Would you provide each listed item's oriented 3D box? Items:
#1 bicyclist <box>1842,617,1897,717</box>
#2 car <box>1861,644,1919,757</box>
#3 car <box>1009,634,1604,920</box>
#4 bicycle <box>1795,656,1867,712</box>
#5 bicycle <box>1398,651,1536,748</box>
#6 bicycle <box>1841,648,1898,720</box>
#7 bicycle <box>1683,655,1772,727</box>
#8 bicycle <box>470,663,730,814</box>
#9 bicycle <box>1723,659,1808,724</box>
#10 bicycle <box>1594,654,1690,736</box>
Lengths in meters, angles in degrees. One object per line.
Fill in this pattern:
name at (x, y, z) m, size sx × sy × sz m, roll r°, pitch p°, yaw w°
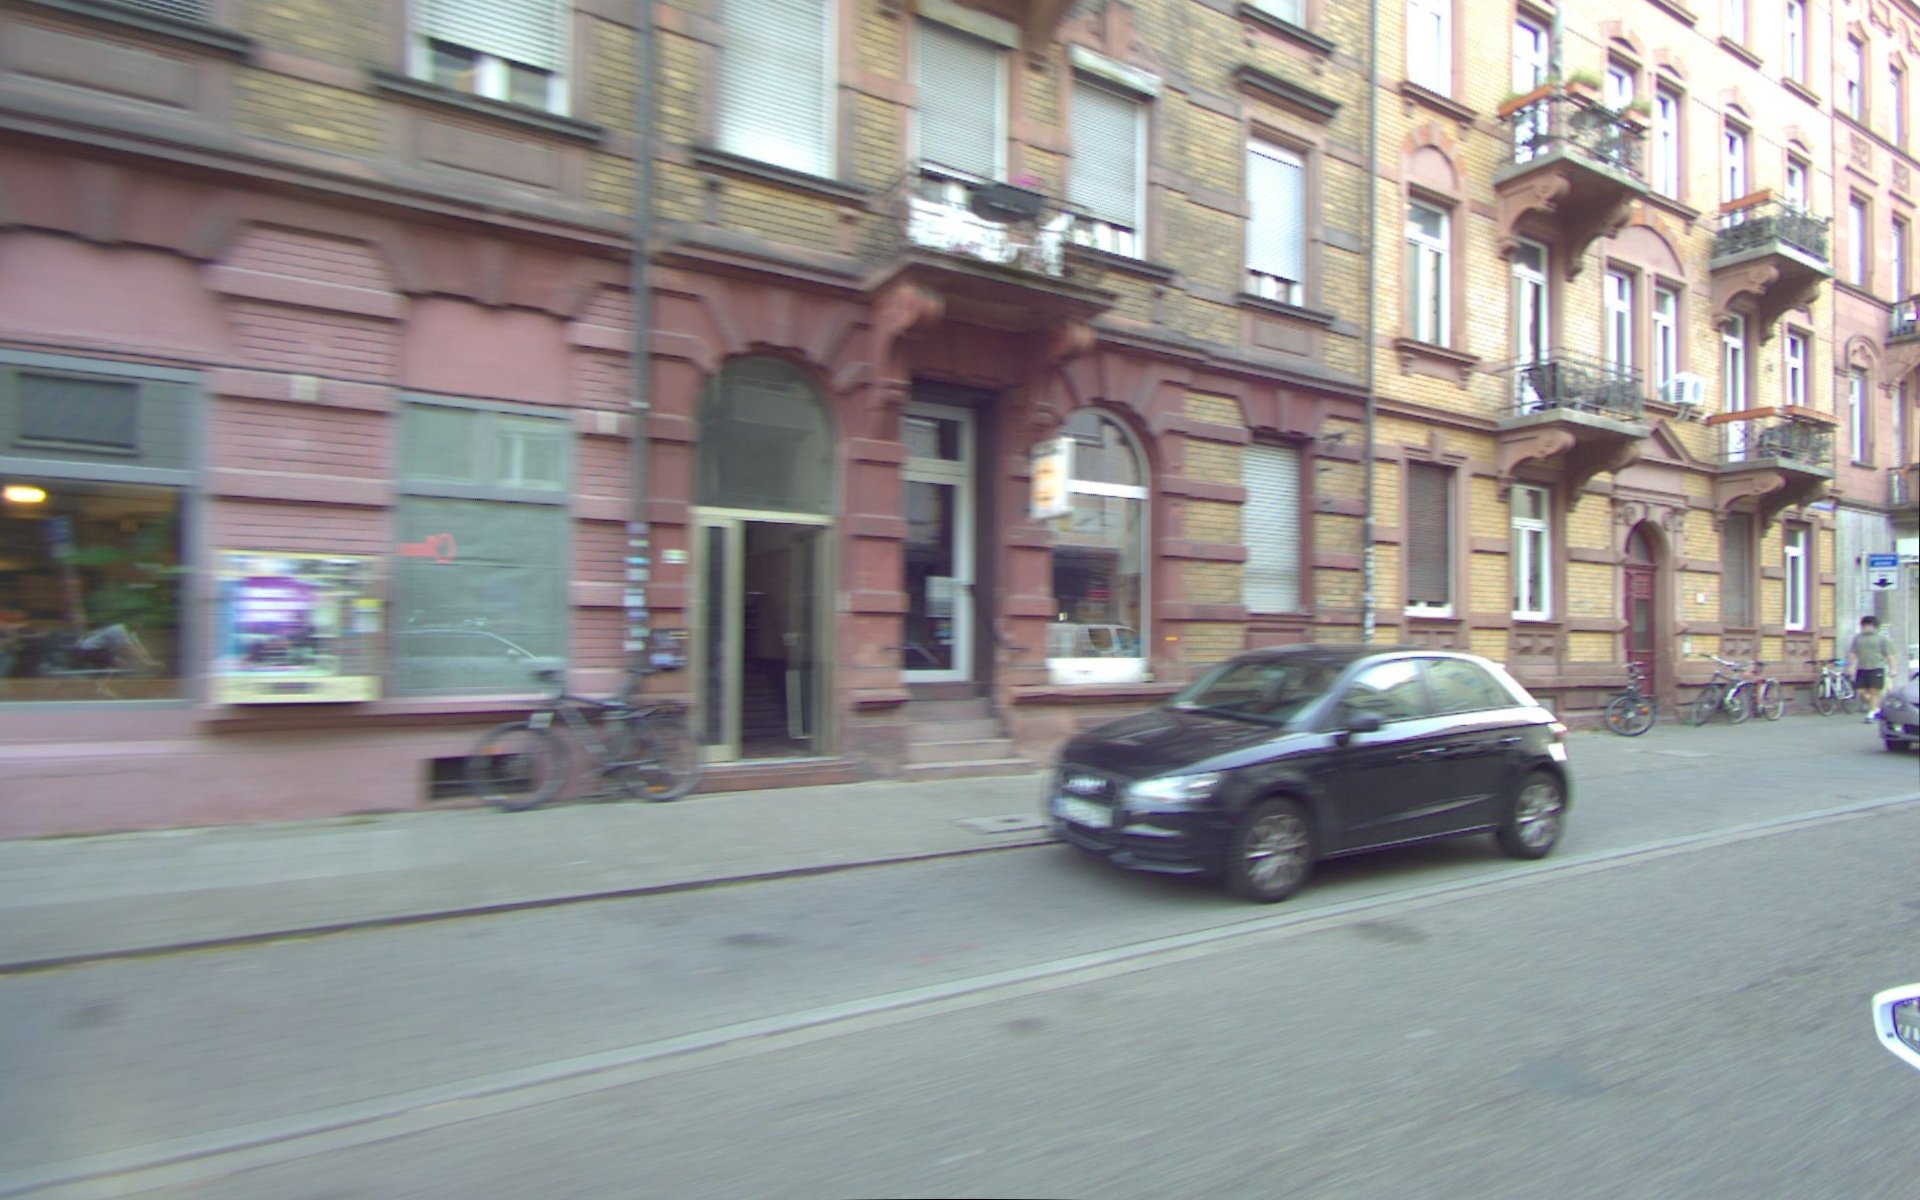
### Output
bicyclist at (16.459, 1.203, 18.195) m, size 0.700 × 1.752 × 0.839 m, roll 0°, pitch -2°, yaw 41°
car at (14.417, 1.369, 13.815) m, size 4.528 × 1.439 × 1.714 m, roll 2°, pitch -1°, yaw -30°
car at (2.395, 0.977, 6.831) m, size 3.805 × 1.439 × 1.687 m, roll 1°, pitch -1°, yaw -27°
bicycle at (17.068, 1.626, 19.667) m, size 1.826 × 1.036 × 0.447 m, roll 2°, pitch 2°, yaw -30°
bicycle at (6.744, 1.292, 13.331) m, size 2.021 × 1.186 × 0.525 m, roll 1°, pitch 0°, yaw -27°
bicycle at (16.428, 1.502, 18.169) m, size 0.699 × 1.212 × 1.734 m, roll 0°, pitch -2°, yaw 40°
bicycle at (13.063, 1.526, 17.089) m, size 1.738 × 1.138 × 0.546 m, roll 1°, pitch 1°, yaw -30°
bicycle at (-2.791, 1.037, 7.877) m, size 1.873 × 1.067 × 0.424 m, roll 2°, pitch -1°, yaw -27°
bicycle at (14.262, 1.594, 17.782) m, size 1.738 × 1.051 × 0.546 m, roll 1°, pitch 1°, yaw -30°
bicycle at (10.428, 1.420, 15.350) m, size 1.595 × 1.138 × 0.733 m, roll 1°, pitch 0°, yaw -37°
